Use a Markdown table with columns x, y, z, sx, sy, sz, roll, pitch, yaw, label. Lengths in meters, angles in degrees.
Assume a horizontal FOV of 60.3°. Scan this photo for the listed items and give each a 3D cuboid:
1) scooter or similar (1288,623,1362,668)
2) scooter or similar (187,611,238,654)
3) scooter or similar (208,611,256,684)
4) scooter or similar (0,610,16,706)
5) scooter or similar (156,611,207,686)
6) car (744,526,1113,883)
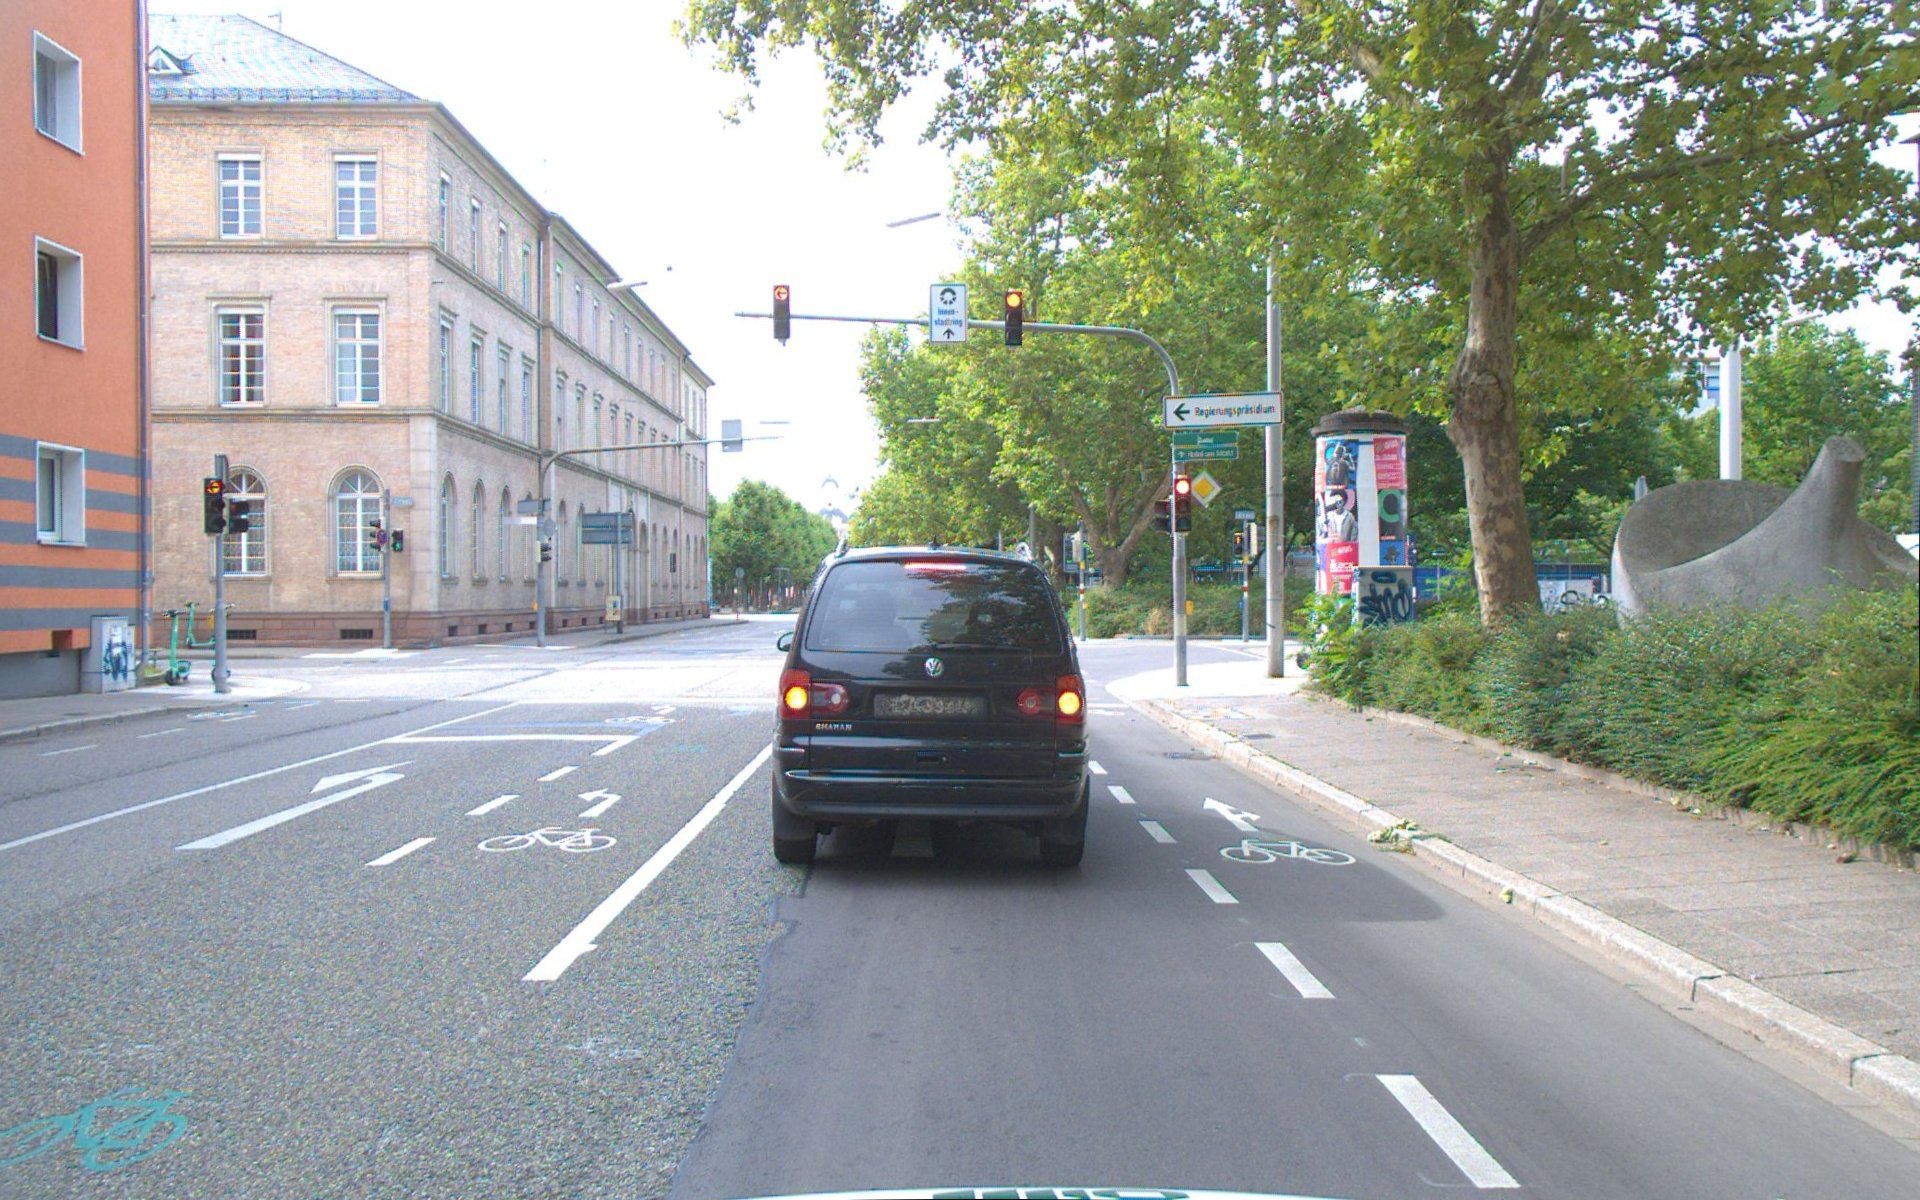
| x | y | z | sx | sy | sz | roll | pitch | yaw | label |
| --- | --- | --- | --- | --- | --- | --- | --- | --- | --- |
| 6.266 | 0.781 | 28.414 | 1.194 | 0.749 | 0.369 | -1 | 0 | -2 | scooter or similar |
| -18.920 | 0.813 | 41.849 | 1.115 | 1.068 | 0.379 | -1 | -1 | -2 | scooter or similar |
| -11.966 | 0.774 | 27.203 | 0.370 | 1.164 | 1.140 | 0 | -1 | -5 | scooter or similar |
| -12.235 | 0.729 | 20.435 | 0.370 | 1.204 | 1.389 | -1 | -1 | -1 | scooter or similar |
| -12.532 | 0.775 | 26.645 | 0.370 | 1.167 | 1.140 | 0 | -1 | -5 | scooter or similar |
| -0.151 | 0.500 | 10.553 | 1.835 | 1.775 | 4.573 | 0 | 0 | 0 | car |
